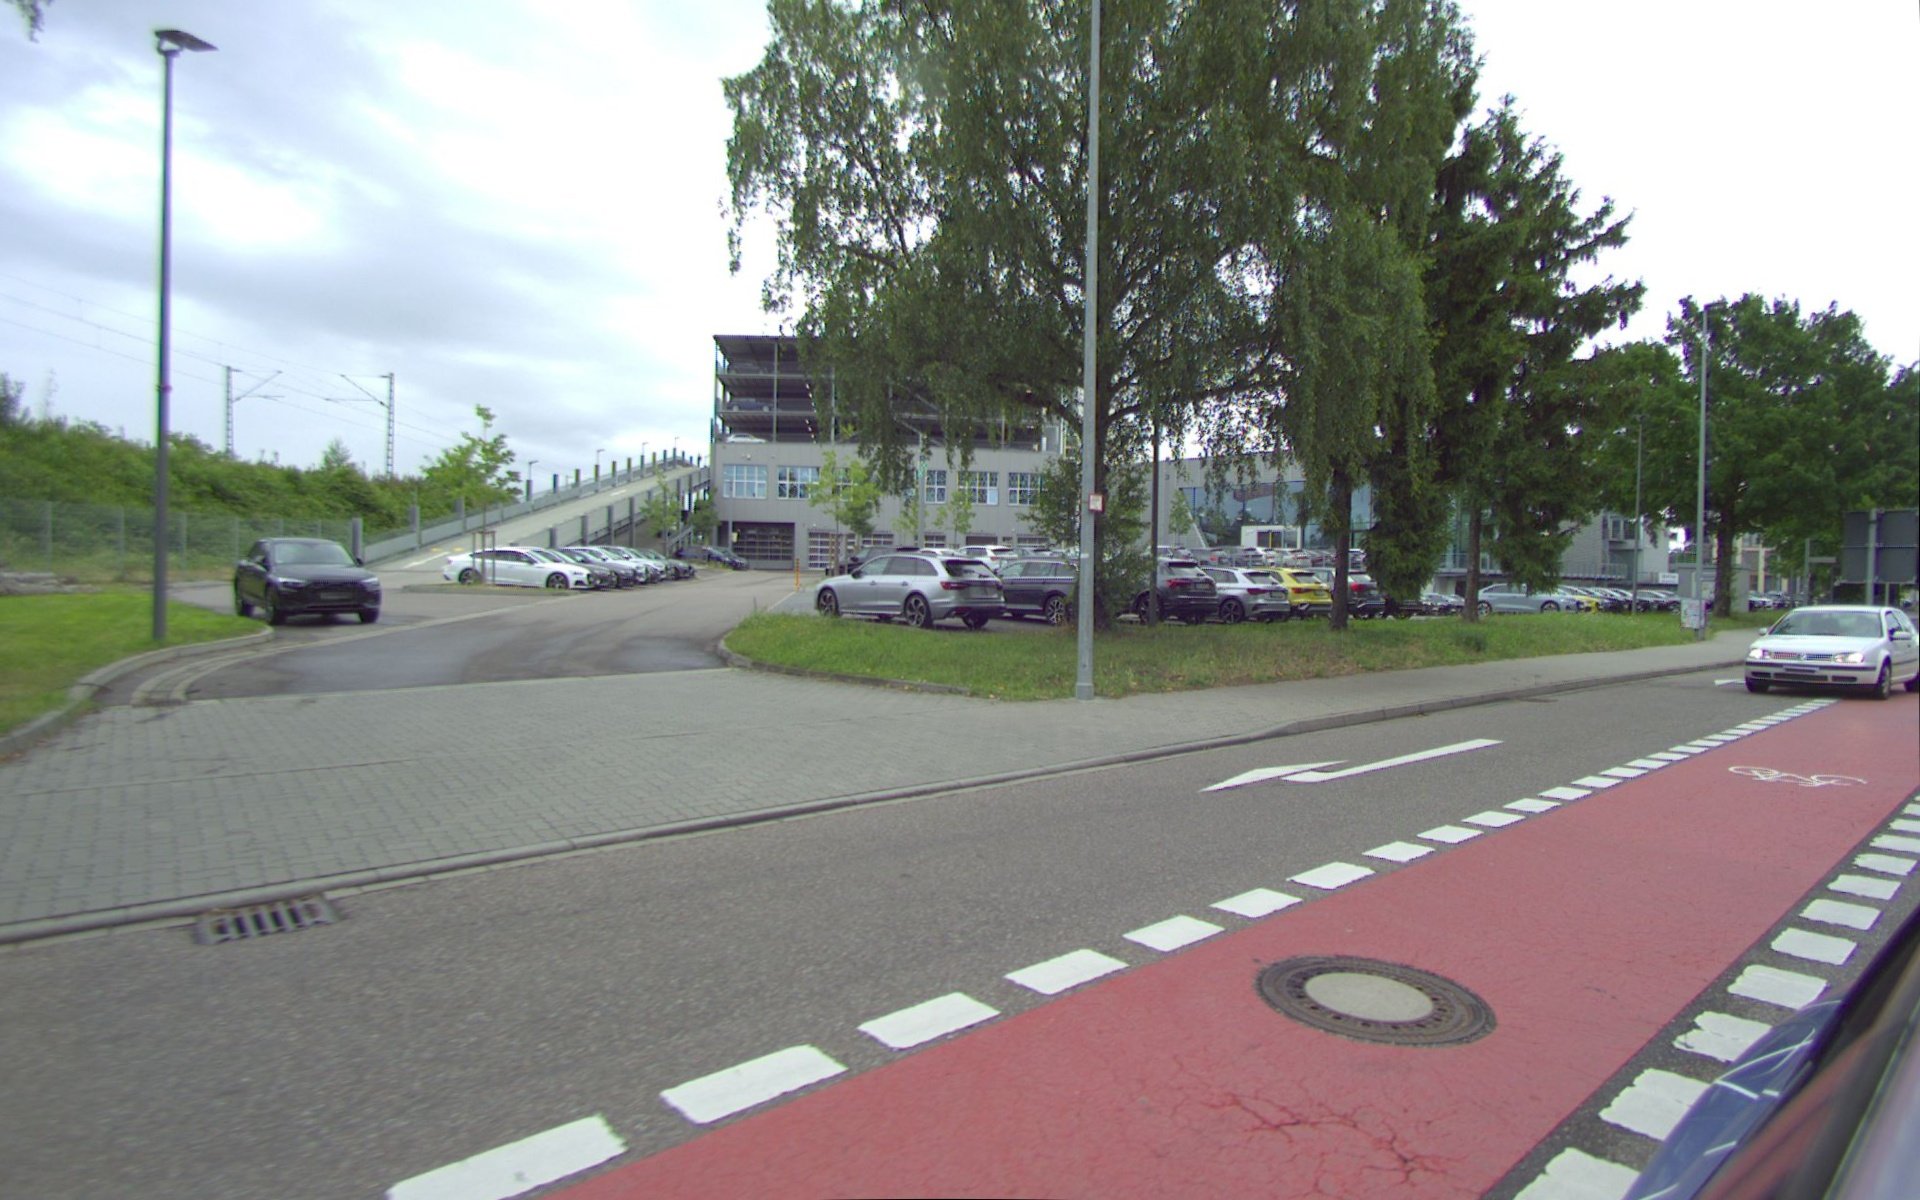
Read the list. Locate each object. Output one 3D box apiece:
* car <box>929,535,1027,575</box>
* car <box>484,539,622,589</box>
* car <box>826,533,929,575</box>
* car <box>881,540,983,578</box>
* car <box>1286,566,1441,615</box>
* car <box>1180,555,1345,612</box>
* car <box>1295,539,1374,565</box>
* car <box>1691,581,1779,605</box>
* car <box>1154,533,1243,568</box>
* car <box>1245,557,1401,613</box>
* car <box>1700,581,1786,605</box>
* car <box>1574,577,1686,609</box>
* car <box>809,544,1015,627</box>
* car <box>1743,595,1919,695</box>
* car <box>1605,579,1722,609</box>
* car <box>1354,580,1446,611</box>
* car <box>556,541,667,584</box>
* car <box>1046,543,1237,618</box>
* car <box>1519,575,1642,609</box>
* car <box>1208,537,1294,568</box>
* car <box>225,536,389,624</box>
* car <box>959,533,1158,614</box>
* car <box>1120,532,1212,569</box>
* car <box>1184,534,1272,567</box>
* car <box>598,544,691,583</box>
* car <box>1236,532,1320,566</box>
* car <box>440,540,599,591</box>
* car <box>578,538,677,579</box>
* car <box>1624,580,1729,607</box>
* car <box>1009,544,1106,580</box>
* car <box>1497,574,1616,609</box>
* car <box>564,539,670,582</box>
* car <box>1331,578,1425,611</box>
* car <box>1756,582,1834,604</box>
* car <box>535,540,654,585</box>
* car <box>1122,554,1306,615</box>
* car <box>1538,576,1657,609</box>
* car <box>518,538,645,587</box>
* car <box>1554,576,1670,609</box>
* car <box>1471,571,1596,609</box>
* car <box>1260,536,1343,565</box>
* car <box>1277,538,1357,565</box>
[{"bbox_3d":[0.723,-1.871,43.044,1.671,1.400,4.302,0,-1,-42],"label":"car"},{"bbox_3d":[-14.581,-1.280,36.428,4.225,1.674,1.971,-1,-1,-6],"label":"car"},{"bbox_3d":[-3.263,-1.754,39.480,1.801,1.391,4.302,0,-1,-42],"label":"car"},{"bbox_3d":[-1.177,-1.621,41.154,1.801,1.306,4.302,0,-1,-42],"label":"car"},{"bbox_3d":[12.229,-0.248,30.870,1.868,1.371,4.000,0,-1,-39],"label":"car"},{"bbox_3d":[8.104,-0.393,27.390,1.777,1.396,4.004,0,-1,-38],"label":"car"},{"bbox_3d":[23.456,-2.992,63.547,1.801,1.381,4.302,0,-1,-42],"label":"car"},{"bbox_3d":[47.837,-0.410,62.514,1.697,1.410,4.037,0,-1,-40],"label":"car"},{"bbox_3d":[12.425,-2.562,52.949,1.801,1.545,4.302,0,-1,-42],"label":"car"},{"bbox_3d":[10.370,-0.388,29.106,1.919,1.441,3.756,0,-1,-41],"label":"car"},{"bbox_3d":[49.652,-0.410,64.220,1.697,1.410,4.037,0,-1,-40],"label":"car"},{"bbox_3d":[33.141,-0.336,50.138,1.811,1.463,4.305,0,-1,-40],"label":"car"},{"bbox_3d":[-1.059,-0.303,20.475,4.299,1.508,1.712,1,1,45],"label":"car"},{"bbox_3d":[14.542,0.648,16.549,3.866,1.442,1.727,0,0,-36],"label":"car"},{"bbox_3d":[37.115,-0.295,53.511,1.868,1.442,4.759,0,-1,-40],"label":"car"},{"bbox_3d":[24.302,-0.232,55.980,1.868,1.621,4.305,0,-1,-40],"label":"car"},{"bbox_3d":[-15.092,-1.623,44.049,4.225,1.757,1.971,-1,-1,-6],"label":"car"},{"bbox_3d":[4.278,-0.394,24.399,1.934,1.621,4.306,0,-1,-39],"label":"car"},{"bbox_3d":[27.522,-0.341,44.992,1.708,1.375,4.305,0,-1,-40],"label":"car"},{"bbox_3d":[16.101,-2.606,56.169,1.833,1.451,4.302,0,-1,-42],"label":"car"},{"bbox_3d":[-13.490,-0.486,20.812,4.299,1.608,1.938,3,3,44],"label":"car"},{"bbox_3d":[2.135,-0.524,22.838,1.935,1.621,4.302,0,-1,-42],"label":"car"},{"bbox_3d":[10.358,-2.462,51.175,1.827,1.546,4.302,0,-1,-42],"label":"car"},{"bbox_3d":[14.386,-2.631,54.479,1.801,1.531,4.302,0,-1,-42],"label":"car"},{"bbox_3d":[-16.136,-1.854,51.943,4.225,1.828,1.971,-1,-1,-6],"label":"car"},{"bbox_3d":[18.122,-2.880,57.849,1.861,1.612,4.307,0,-1,-38],"label":"car"},{"bbox_3d":[-14.689,-1.152,33.968,4.579,1.587,1.907,-1,-1,-8],"label":"car"},{"bbox_3d":[-16.046,-2.003,48.996,4.225,1.828,1.971,-1,-1,-6],"label":"car"},{"bbox_3d":[38.791,-0.323,54.869,1.831,1.333,4.305,0,-1,-40],"label":"car"},{"bbox_3d":[4.377,-1.688,46.066,1.801,1.389,4.302,0,-1,-42],"label":"car"},{"bbox_3d":[25.706,-0.328,43.684,1.763,1.395,4.053,0,-1,-39],"label":"car"},{"bbox_3d":[-15.592,-1.779,46.188,4.225,1.828,1.971,-1,-1,-6],"label":"car"},{"bbox_3d":[22.446,-0.269,54.516,1.868,1.621,4.305,0,-1,-40],"label":"car"},{"bbox_3d":[59.489,-0.480,72.170,1.697,1.410,4.037,0,-1,-40],"label":"car"},{"bbox_3d":[-14.919,-1.517,41.506,4.225,1.682,1.971,-1,-1,-6],"label":"car"},{"bbox_3d":[6.364,-0.339,25.768,1.868,1.400,4.306,0,-1,-39],"label":"car"},{"bbox_3d":[29.462,-0.313,46.873,1.806,1.396,4.305,0,-1,-40],"label":"car"},{"bbox_3d":[-14.469,-1.426,38.885,4.225,1.712,1.971,-1,-1,-6],"label":"car"},{"bbox_3d":[31.185,-0.346,48.484,1.811,1.463,4.305,0,-1,-40],"label":"car"},{"bbox_3d":[23.855,-0.382,42.189,1.708,1.450,4.195,0,-1,-40],"label":"car"},{"bbox_3d":[20.051,-2.877,59.587,1.801,1.381,4.302,0,-1,-42],"label":"car"},{"bbox_3d":[21.750,-2.931,61.749,1.801,1.381,4.302,0,-1,-42],"label":"car"}]
